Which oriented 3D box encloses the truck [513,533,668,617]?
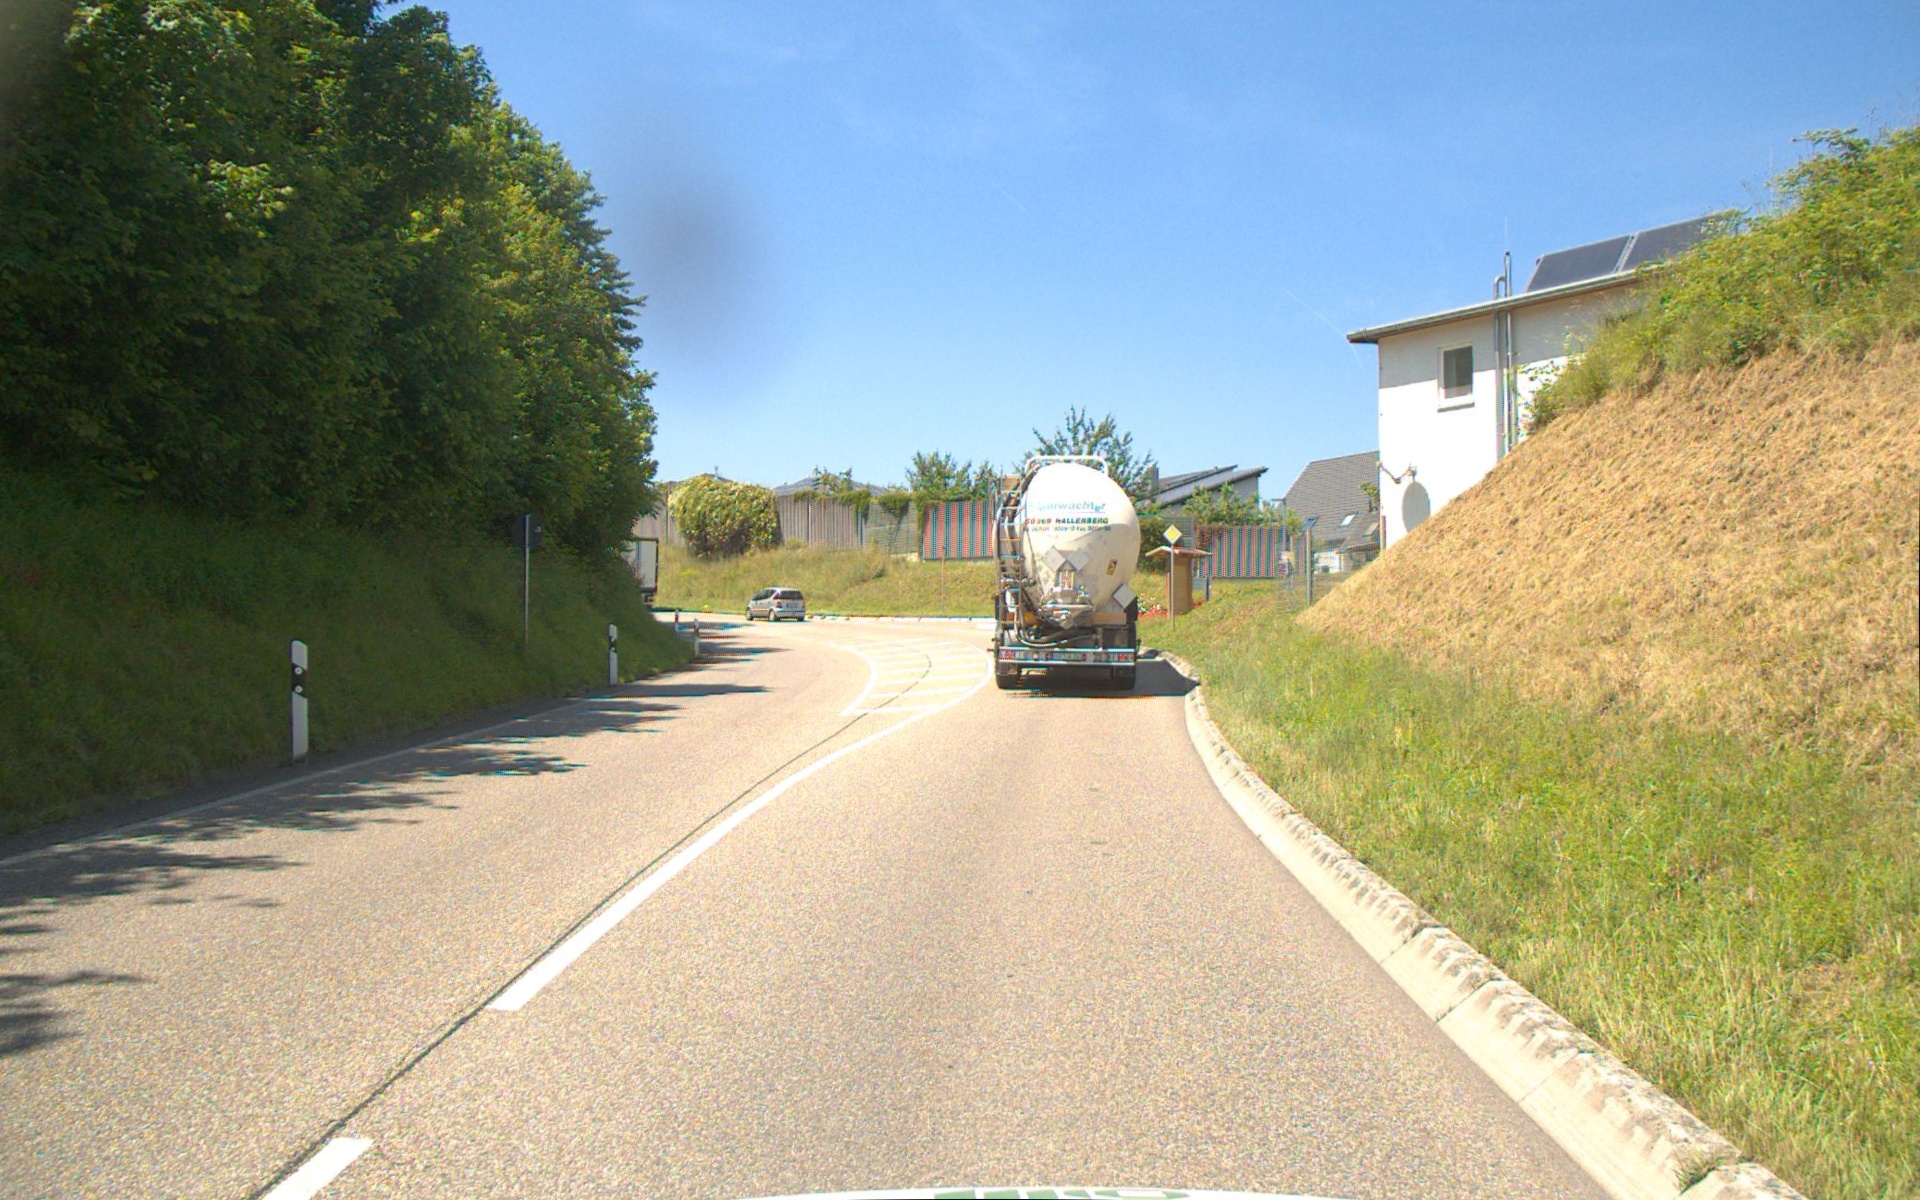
[{"bbox_3d":[-21.276,-1.509,94.644,3.174,4.384,11.618,4,-1,-42],"label":"truck"}]

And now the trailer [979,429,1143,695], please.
[{"bbox_3d":[2.113,-0.579,32.564,2.605,4.262,11.910,0,0,5],"label":"trailer"}]

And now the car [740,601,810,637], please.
[{"bbox_3d":[-8.649,0.884,77.108,1.635,1.536,3.592,4,-2,-36],"label":"car"}]
